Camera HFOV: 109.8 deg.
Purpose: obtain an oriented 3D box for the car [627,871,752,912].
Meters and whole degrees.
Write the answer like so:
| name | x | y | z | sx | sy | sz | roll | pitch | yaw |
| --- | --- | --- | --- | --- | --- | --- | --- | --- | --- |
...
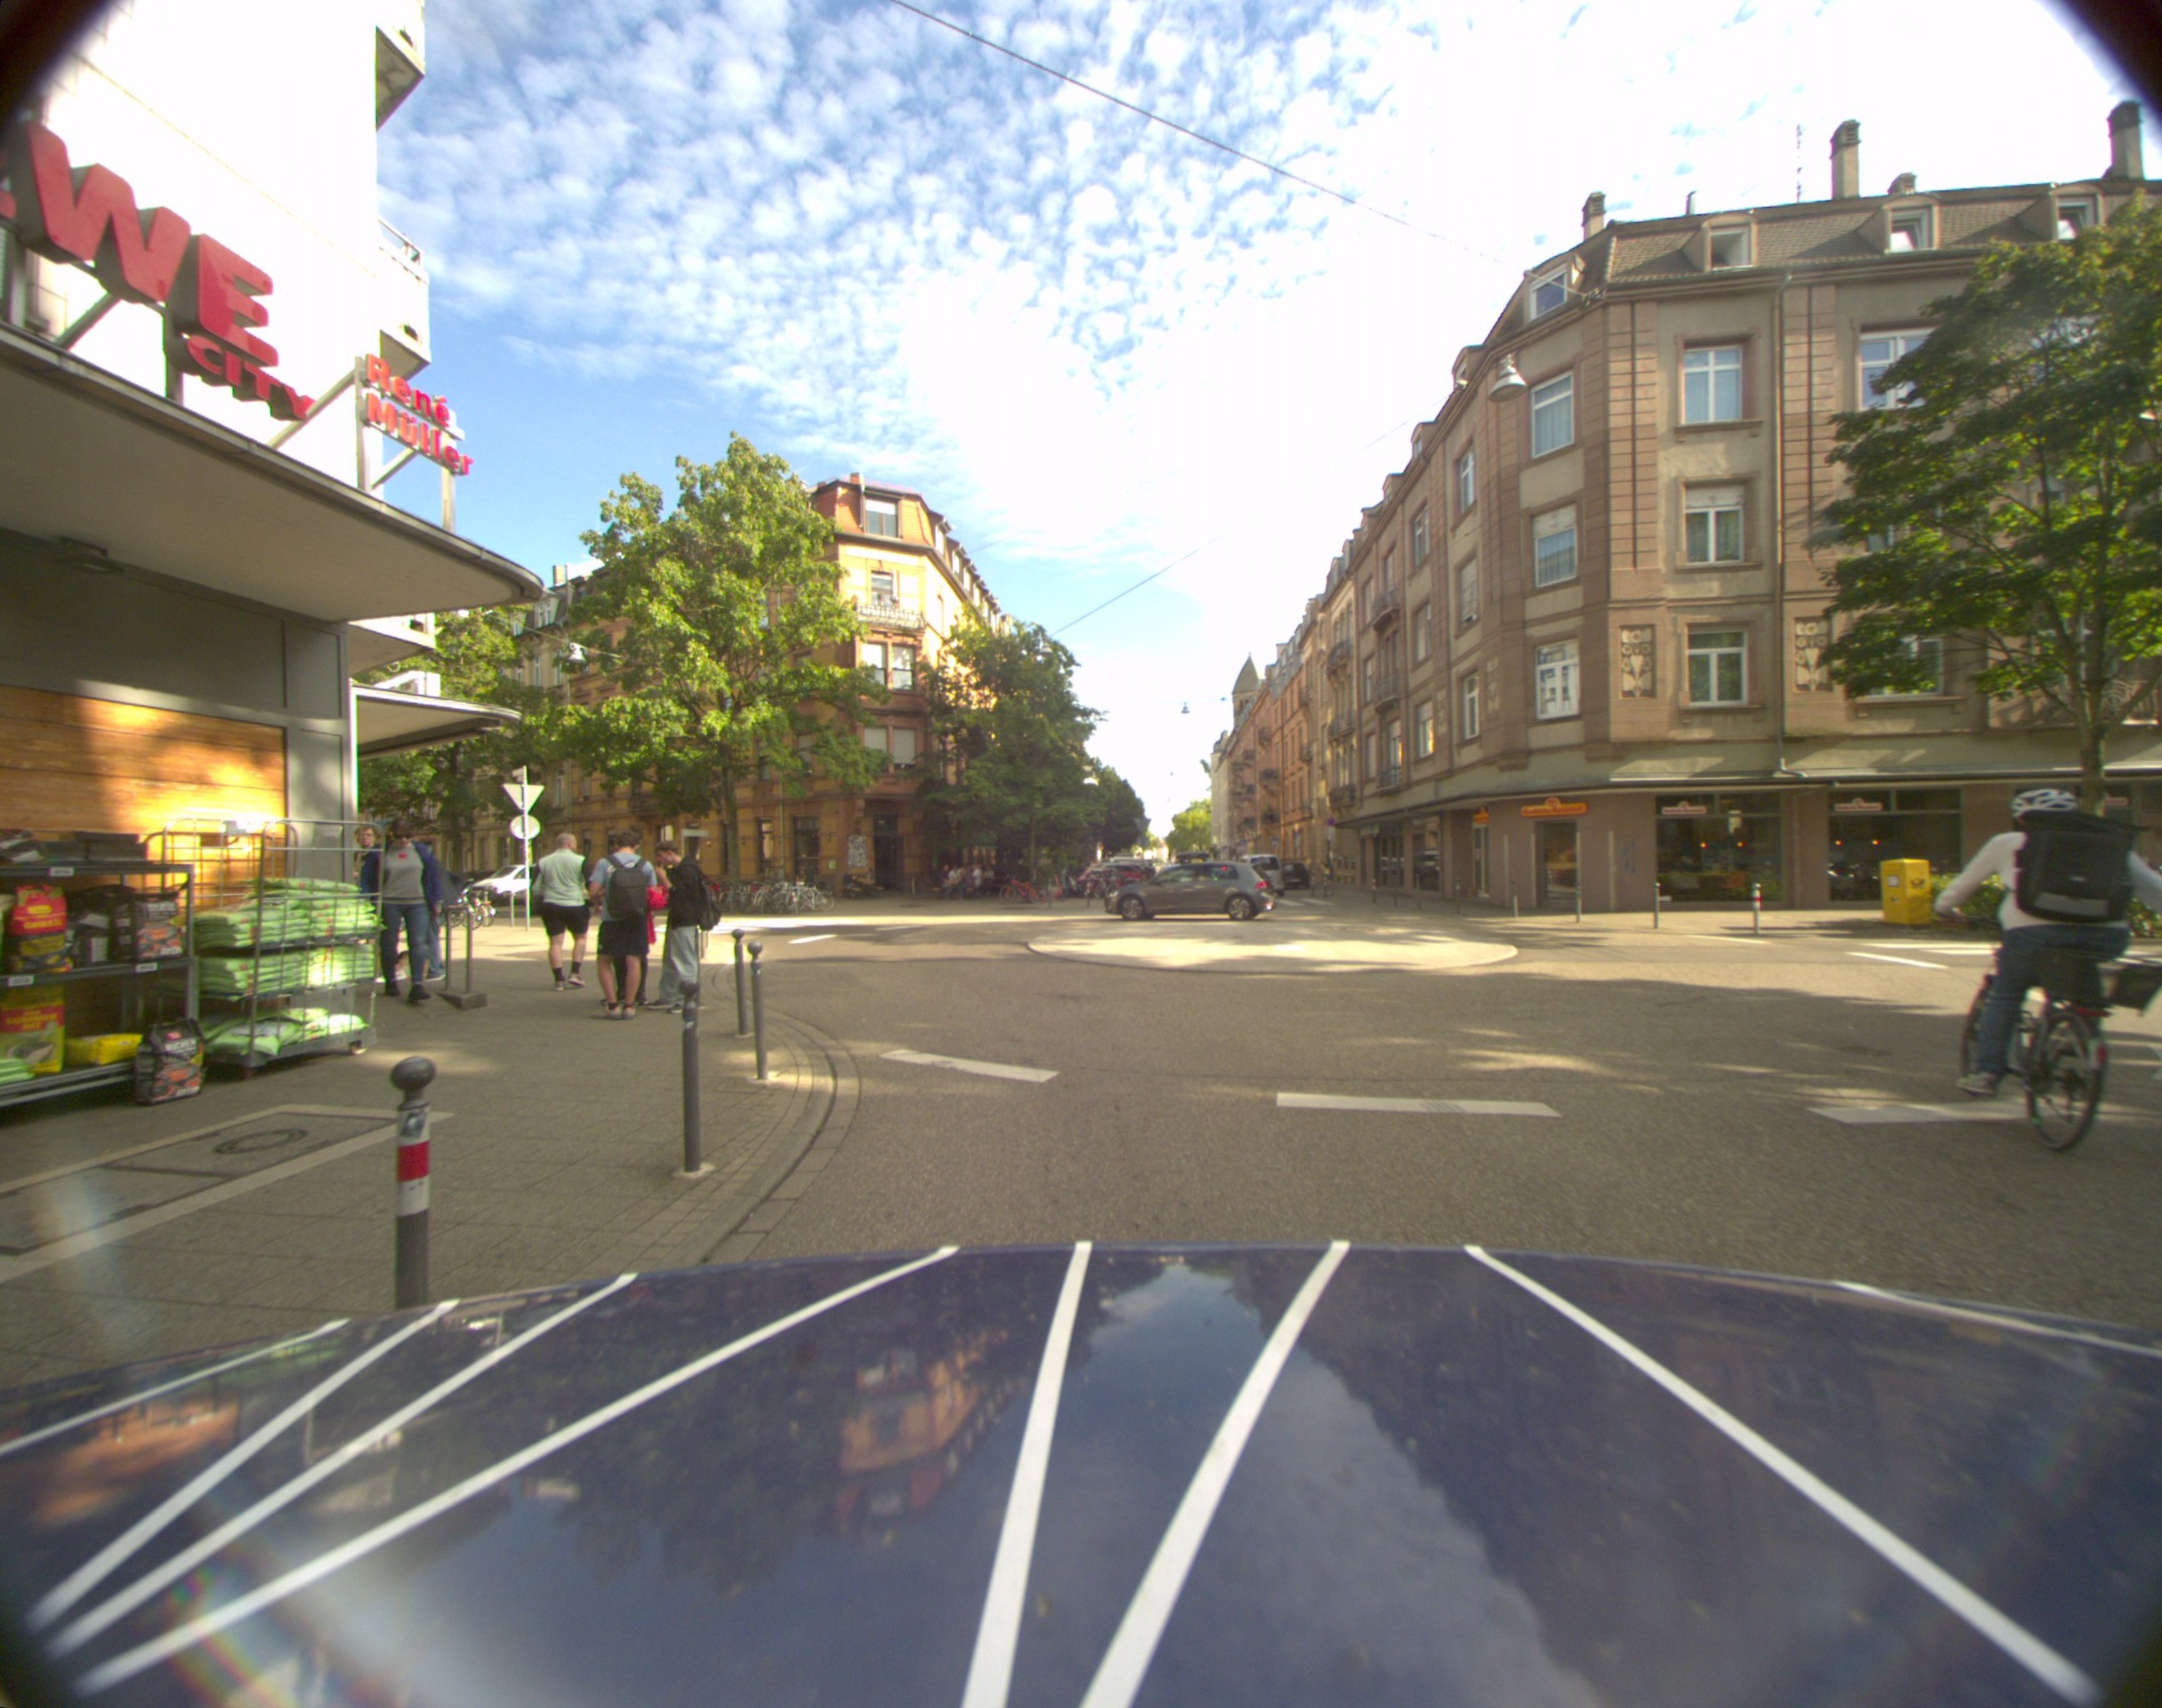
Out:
| name | x | y | z | sx | sy | sz | roll | pitch | yaw |
| --- | --- | --- | --- | --- | --- | --- | --- | --- | --- |
| car | -15.218 | 1.445 | 29.751 | 1.564 | 1.263 | 4.119 | -2 | 1 | 29 |

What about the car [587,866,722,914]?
| name | x | y | z | sx | sy | sz | roll | pitch | yaw |
| --- | --- | --- | --- | --- | --- | --- | --- | --- | --- |
| car | -17.393 | 1.429 | 31.178 | 2.001 | 1.561 | 4.320 | -2 | 1 | 37 |

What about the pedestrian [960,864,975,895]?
| name | x | y | z | sx | sy | sz | roll | pitch | yaw |
| --- | --- | --- | --- | --- | --- | --- | --- | --- | --- |
| pedestrian | -4.946 | 1.103 | 33.041 | 0.549 | 1.293 | 0.621 | -1 | 1 | -18 |

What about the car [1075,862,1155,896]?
| name | x | y | z | sx | sy | sz | roll | pitch | yaw |
| --- | --- | --- | --- | --- | --- | --- | --- | --- | --- |
| car | 1.668 | 1.213 | 37.588 | 3.590 | 1.606 | 1.511 | 1 | 0 | -17 |

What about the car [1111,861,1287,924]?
| name | x | y | z | sx | sy | sz | roll | pitch | yaw |
| --- | --- | --- | --- | --- | --- | --- | --- | --- | --- |
| car | 2.924 | 0.935 | 18.821 | 3.990 | 1.429 | 1.801 | -1 | -2 | 23 |

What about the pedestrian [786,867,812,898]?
| name | x | y | z | sx | sy | sz | roll | pitch | yaw |
| --- | --- | --- | --- | --- | --- | --- | --- | --- | --- |
| pedestrian | -12.282 | 1.240 | 33.091 | 0.627 | 1.278 | 0.770 | -1 | 2 | 29 |

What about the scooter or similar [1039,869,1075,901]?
| name | x | y | z | sx | sy | sz | roll | pitch | yaw |
| --- | --- | --- | --- | --- | --- | --- | --- | --- | --- |
| scooter or similar | -0.905 | 1.176 | 28.767 | 1.289 | 1.203 | 0.557 | -1 | -2 | 32 |

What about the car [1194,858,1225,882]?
| name | x | y | z | sx | sy | sz | roll | pitch | yaw |
| --- | --- | --- | --- | --- | --- | --- | --- | --- | --- |
| car | 9.166 | 1.133 | 54.464 | 1.997 | 1.624 | 4.847 | -1 | 0 | 7 |

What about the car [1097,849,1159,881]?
| name | x | y | z | sx | sy | sz | roll | pitch | yaw |
| --- | --- | --- | --- | --- | --- | --- | --- | --- | --- |
| car | 3.915 | 0.897 | 63.330 | 4.745 | 2.408 | 1.996 | -2 | 0 | -26 |

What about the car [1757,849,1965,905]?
| name | x | y | z | sx | sy | sz | roll | pitch | yaw |
| --- | --- | --- | --- | --- | --- | --- | --- | --- | --- |
| car | 22.339 | 0.636 | 22.020 | 1.766 | 1.421 | 3.999 | -2 | -1 | -4 |

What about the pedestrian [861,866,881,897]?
| name | x | y | z | sx | sy | sz | roll | pitch | yaw |
| --- | --- | --- | --- | --- | --- | --- | --- | --- | --- |
| pedestrian | -9.065 | 1.173 | 32.761 | 0.510 | 1.252 | 0.643 | 1 | 3 | 38 |

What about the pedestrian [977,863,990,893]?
| name | x | y | z | sx | sy | sz | roll | pitch | yaw |
| --- | --- | --- | --- | --- | --- | --- | --- | --- | --- |
| pedestrian | -4.416 | 1.055 | 34.255 | 0.467 | 1.319 | 0.621 | -1 | 1 | -18 |

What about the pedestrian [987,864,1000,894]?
| name | x | y | z | sx | sy | sz | roll | pitch | yaw |
| --- | --- | --- | --- | --- | --- | --- | --- | --- | --- |
| pedestrian | -3.911 | 1.110 | 33.846 | 0.467 | 1.319 | 0.621 | -1 | 1 | -18 |

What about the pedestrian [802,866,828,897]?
| name | x | y | z | sx | sy | sz | roll | pitch | yaw |
| --- | --- | --- | --- | --- | --- | --- | --- | --- | --- |
| pedestrian | -11.470 | 1.203 | 32.771 | 0.627 | 1.278 | 0.770 | -1 | 2 | 29 |

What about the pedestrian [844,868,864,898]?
| name | x | y | z | sx | sy | sz | roll | pitch | yaw |
| --- | --- | --- | --- | --- | --- | --- | --- | --- | --- |
| pedestrian | -9.617 | 1.218 | 32.191 | 0.510 | 1.218 | 0.643 | 1 | 3 | 38 |

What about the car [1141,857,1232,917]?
| name | x | y | z | sx | sy | sz | roll | pitch | yaw |
| --- | --- | --- | --- | --- | --- | --- | --- | --- | --- |
| car | 3.507 | 0.983 | 24.474 | 1.941 | 1.588 | 4.842 | -3 | 0 | 19 |

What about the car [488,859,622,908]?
| name | x | y | z | sx | sy | sz | roll | pitch | yaw |
| --- | --- | --- | --- | --- | --- | --- | --- | --- | --- |
| car | -25.853 | 1.388 | 37.568 | 2.041 | 1.978 | 4.919 | -1 | 3 | 28 |

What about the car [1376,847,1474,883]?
| name | x | y | z | sx | sy | sz | roll | pitch | yaw |
| --- | --- | --- | --- | --- | --- | --- | --- | --- | --- |
| car | 17.364 | 0.544 | 38.440 | 3.998 | 1.611 | 2.000 | -2 | 0 | -3 |

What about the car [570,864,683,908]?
| name | x | y | z | sx | sy | sz | roll | pitch | yaw |
| --- | --- | --- | --- | --- | --- | --- | --- | --- | --- |
| car | -19.615 | 1.360 | 32.938 | 1.856 | 1.711 | 3.715 | -3 | -1 | 32 |

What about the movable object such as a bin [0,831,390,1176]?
| name | x | y | z | sx | sy | sz | roll | pitch | yaw |
| --- | --- | --- | --- | --- | --- | --- | --- | --- | --- |
| movable object such as a bin | -5.763 | 0.760 | 4.581 | 0.781 | 1.734 | 2.424 | -1 | 0 | 6 |

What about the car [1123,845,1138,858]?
| name | x | y | z | sx | sy | sz | roll | pitch | yaw |
| --- | --- | --- | --- | --- | --- | --- | --- | --- | --- |
| car | 7.011 | -0.371 | 107.841 | 1.849 | 1.724 | 4.000 | -2 | -1 | 0 |

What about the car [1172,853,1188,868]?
| name | x | y | z | sx | sy | sz | roll | pitch | yaw |
| --- | --- | --- | --- | --- | --- | --- | --- | --- | --- |
| car | 13.849 | 0.898 | 106.035 | 1.943 | 1.868 | 4.838 | -2 | -1 | 5 |

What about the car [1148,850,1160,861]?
| name | x | y | z | sx | sy | sz | roll | pitch | yaw |
| --- | --- | --- | --- | --- | --- | --- | --- | --- | --- |
| car | 13.719 | 0.267 | 143.057 | 1.997 | 1.877 | 4.003 | -2 | -1 | 8 |

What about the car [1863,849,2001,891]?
| name | x | y | z | sx | sy | sz | roll | pitch | yaw |
| --- | --- | --- | --- | --- | --- | --- | --- | --- | --- |
| car | 35.128 | 0.676 | 31.446 | 3.628 | 1.557 | 1.580 | -2 | 0 | 8 |

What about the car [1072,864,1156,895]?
| name | x | y | z | sx | sy | sz | roll | pitch | yaw |
| --- | --- | --- | --- | --- | --- | --- | --- | --- | --- |
| car | 1.529 | 1.189 | 35.222 | 3.591 | 1.372 | 1.511 | 1 | 0 | -19 |

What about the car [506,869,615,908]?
| name | x | y | z | sx | sy | sz | roll | pitch | yaw |
| --- | --- | --- | --- | --- | --- | --- | --- | --- | --- |
| car | -24.024 | 1.557 | 35.177 | 1.665 | 1.450 | 3.714 | -1 | 3 | 32 |

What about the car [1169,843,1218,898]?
| name | x | y | z | sx | sy | sz | roll | pitch | yaw |
| --- | --- | --- | --- | --- | --- | --- | --- | --- | --- |
| car | 4.564 | 0.638 | 30.661 | 1.791 | 2.051 | 4.003 | -1 | 0 | 9 |

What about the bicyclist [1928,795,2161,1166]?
| name | x | y | z | sx | sy | sz | roll | pitch | yaw |
| --- | --- | --- | --- | --- | --- | --- | --- | --- | --- |
| bicyclist | 5.171 | 0.574 | 3.897 | 0.701 | 1.667 | 1.114 | 0 | 0 | 23 |

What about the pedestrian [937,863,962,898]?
| name | x | y | z | sx | sy | sz | roll | pitch | yaw |
| --- | --- | --- | --- | --- | --- | --- | --- | --- | --- |
| pedestrian | -5.319 | 1.079 | 30.801 | 0.715 | 1.371 | 0.671 | 0 | 1 | 41 |

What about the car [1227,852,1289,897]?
| name | x | y | z | sx | sy | sz | roll | pitch | yaw |
| --- | --- | --- | --- | --- | --- | --- | --- | --- | --- |
| car | 7.697 | 0.886 | 33.366 | 1.833 | 1.780 | 4.332 | -2 | -1 | 3 |

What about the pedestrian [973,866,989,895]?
| name | x | y | z | sx | sy | sz | roll | pitch | yaw |
| --- | --- | --- | --- | --- | --- | --- | --- | --- | --- |
| pedestrian | -4.370 | 1.139 | 33.155 | 0.549 | 1.225 | 0.621 | -1 | 1 | -18 |

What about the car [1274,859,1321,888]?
| name | x | y | z | sx | sy | sz | roll | pitch | yaw |
| --- | --- | --- | --- | --- | --- | --- | --- | --- | --- |
| car | 11.236 | 0.975 | 39.660 | 1.722 | 1.360 | 3.831 | -2 | -1 | 6 |

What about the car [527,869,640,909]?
| name | x | y | z | sx | sy | sz | roll | pitch | yaw |
| --- | --- | --- | --- | --- | --- | --- | --- | --- | --- |
| car | -21.952 | 1.530 | 33.659 | 1.665 | 1.449 | 3.714 | -3 | 1 | 32 |
